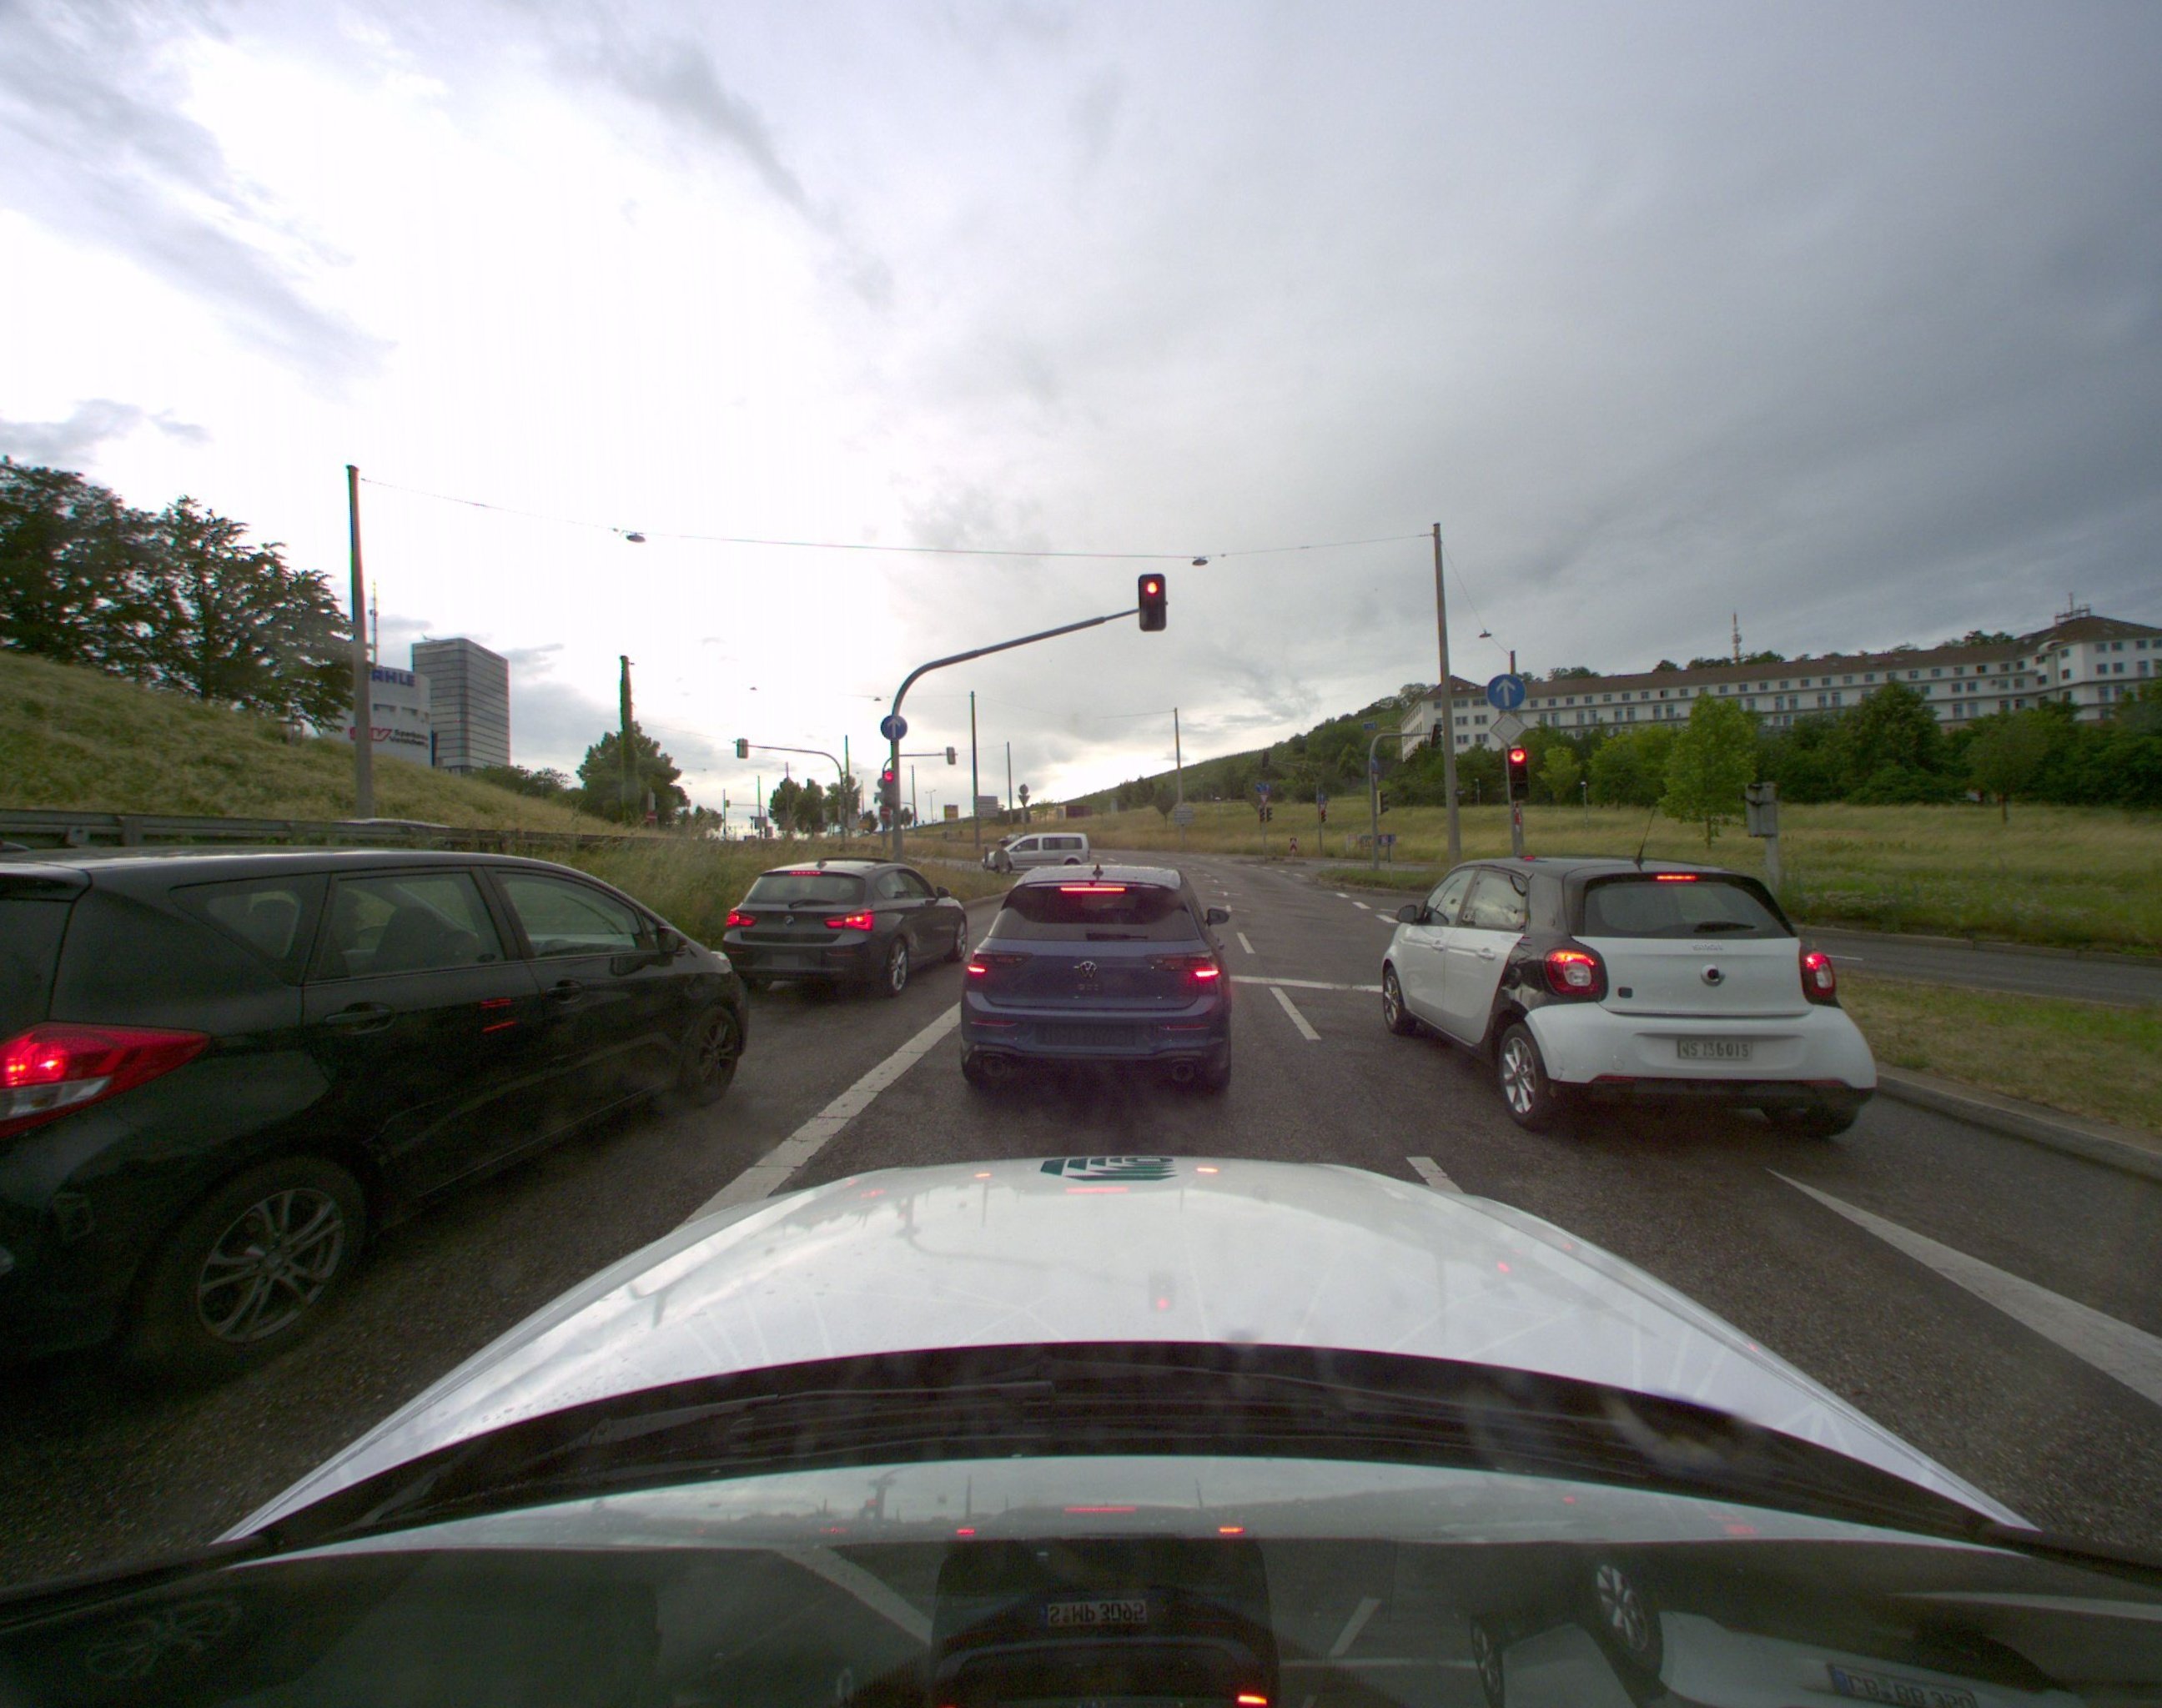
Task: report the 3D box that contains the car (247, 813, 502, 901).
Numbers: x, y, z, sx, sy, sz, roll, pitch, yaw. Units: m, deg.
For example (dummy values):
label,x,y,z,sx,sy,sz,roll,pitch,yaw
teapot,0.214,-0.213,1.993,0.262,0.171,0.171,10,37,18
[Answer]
label,x,y,z,sx,sy,sz,roll,pitch,yaw
car,-13.614,0.038,16.022,1.729,1.517,3.679,0,0,2

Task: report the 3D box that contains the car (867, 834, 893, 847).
label,x,y,z,sx,sy,sz,roll,pitch,yaw
car,-26.666,-1.739,107.983,2.008,1.637,4.373,0,-1,-35

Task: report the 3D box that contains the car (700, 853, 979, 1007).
label,x,y,z,sx,sy,sz,roll,pitch,yaw
car,-2.621,0.745,9.964,1.693,1.459,4.123,-1,0,7

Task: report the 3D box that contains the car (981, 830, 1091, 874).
label,x,y,z,sx,sy,sz,roll,pitch,yaw
car,-2.008,-0.100,35.961,4.683,1.850,1.816,0,1,-10

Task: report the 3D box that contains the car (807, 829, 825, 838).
label,x,y,z,sx,sy,sz,roll,pitch,yaw
car,-47.051,-3.627,144.703,2.007,1.477,4.375,0,-1,-33

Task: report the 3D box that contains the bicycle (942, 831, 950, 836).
label,x,y,z,sx,sy,sz,roll,pitch,yaw
bicycle,-20.123,-3.035,121.351,0.521,0.775,1.605,0,0,-31

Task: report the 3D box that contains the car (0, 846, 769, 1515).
label,x,y,z,sx,sy,sz,roll,pitch,yaw
car,-3.104,0.721,3.755,1.634,1.504,3.783,0,0,4

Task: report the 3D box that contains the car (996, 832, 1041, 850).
label,x,y,z,sx,sy,sz,roll,pitch,yaw
car,-5.682,-1.136,73.405,2.008,1.618,4.801,0,0,-34

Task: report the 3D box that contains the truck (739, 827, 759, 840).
label,x,y,z,sx,sy,sz,roll,pitch,yaw
truck,-82.993,-5.173,203.247,3.281,3.074,6.111,2,0,-35

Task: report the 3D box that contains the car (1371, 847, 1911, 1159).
label,x,y,z,sx,sy,sz,roll,pitch,yaw
car,3.335,0.749,5.719,1.649,1.503,3.456,-1,-1,6

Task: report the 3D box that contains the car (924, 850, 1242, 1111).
label,x,y,z,sx,sy,sz,roll,pitch,yaw
car,0.232,0.720,6.559,1.815,1.460,3.816,-1,0,7

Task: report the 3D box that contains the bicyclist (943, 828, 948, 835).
label,x,y,z,sx,sy,sz,roll,pitch,yaw
bicyclist,-20.167,-3.333,121.458,0.526,1.046,0.575,2,0,-31

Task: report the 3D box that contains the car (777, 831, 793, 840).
label,x,y,z,sx,sy,sz,roll,pitch,yaw
car,-60.704,-3.827,167.077,2.143,1.794,4.694,1,0,-31

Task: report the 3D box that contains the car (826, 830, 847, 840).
label,x,y,z,sx,sy,sz,roll,pitch,yaw
car,-38.956,-3.016,129.623,2.008,1.477,4.455,0,-1,-33
